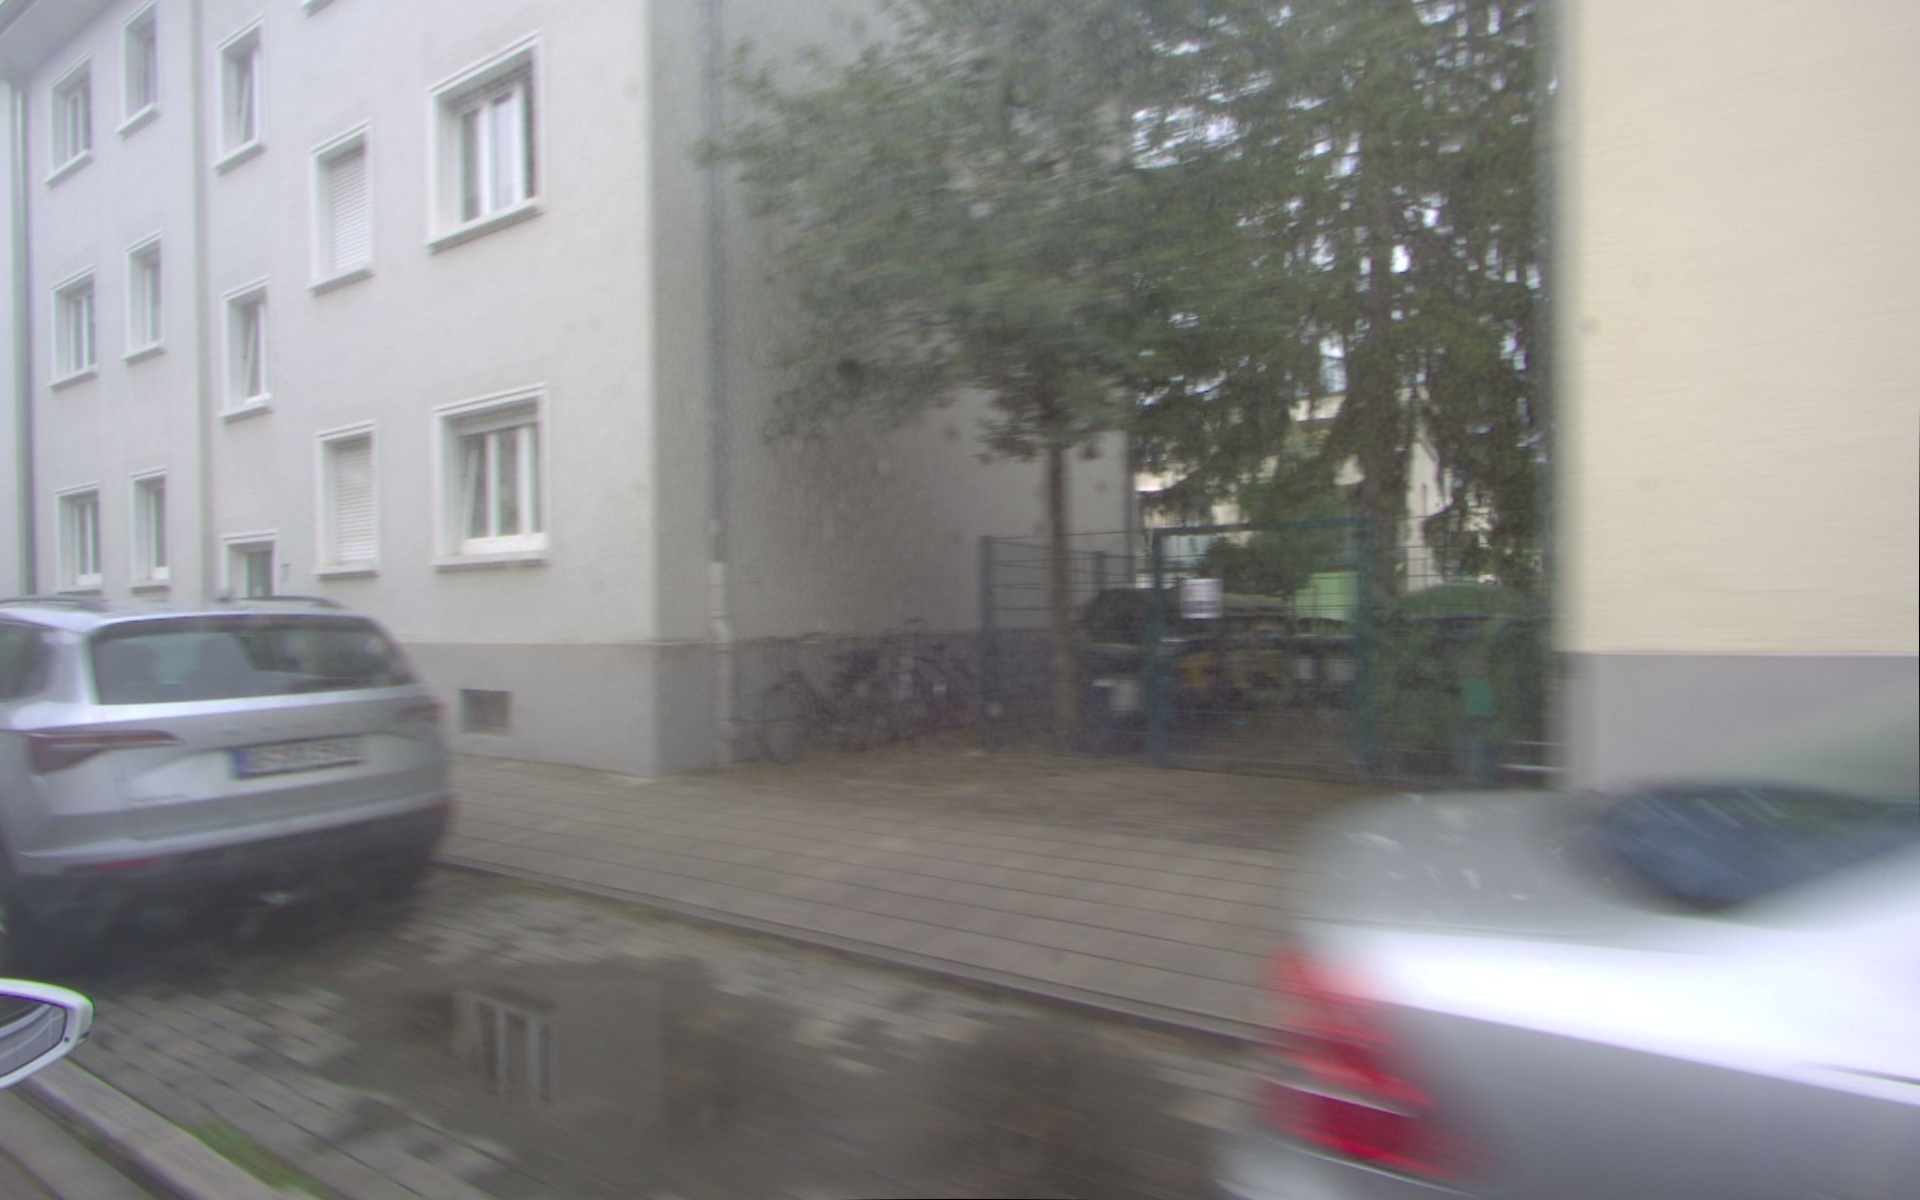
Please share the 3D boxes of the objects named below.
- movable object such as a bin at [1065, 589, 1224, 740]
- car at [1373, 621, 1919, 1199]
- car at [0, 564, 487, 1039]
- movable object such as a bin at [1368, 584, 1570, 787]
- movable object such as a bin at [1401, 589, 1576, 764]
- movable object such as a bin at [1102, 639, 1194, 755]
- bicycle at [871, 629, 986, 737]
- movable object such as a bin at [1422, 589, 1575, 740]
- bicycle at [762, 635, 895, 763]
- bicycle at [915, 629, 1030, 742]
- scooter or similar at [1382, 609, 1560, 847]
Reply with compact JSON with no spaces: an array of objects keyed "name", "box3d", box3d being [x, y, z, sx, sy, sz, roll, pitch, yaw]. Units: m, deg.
[{"name":"movable object such as a bin","box3d":[1.867,0.605,10.074,1.204,1.397,1.134,-1,0,35]},{"name":"car","box3d":[2.821,0.761,0.732,4.441,1.495,1.721,-1,-1,33]},{"name":"car","box3d":[-4.554,0.741,5.387,4.034,1.664,1.816,-1,0,34]},{"name":"movable object such as a bin","box3d":[3.907,0.597,7.667,1.287,1.397,1.030,-1,0,32]},{"name":"movable object such as a bin","box3d":[4.668,0.621,8.822,1.287,1.397,1.107,-1,0,32]},{"name":"movable object such as a bin","box3d":[1.688,0.849,8.983,0.639,0.965,0.553,-1,1,35]},{"name":"bicycle","box3d":[-0.319,0.864,10.907,0.491,1.076,1.444,0,0,34]},{"name":"movable object such as a bin","box3d":[5.443,0.602,10.091,1.287,1.397,1.189,-1,0,32]},{"name":"bicycle","box3d":[-1.206,0.885,9.385,0.491,1.076,1.289,0,0,34]},{"name":"bicycle","box3d":[0.155,0.854,10.533,0.491,1.076,1.444,0,0,34]},{"name":"scooter or similar","box3d":[3.066,0.692,5.967,1.267,1.262,0.518,-1,1,-41]}]
